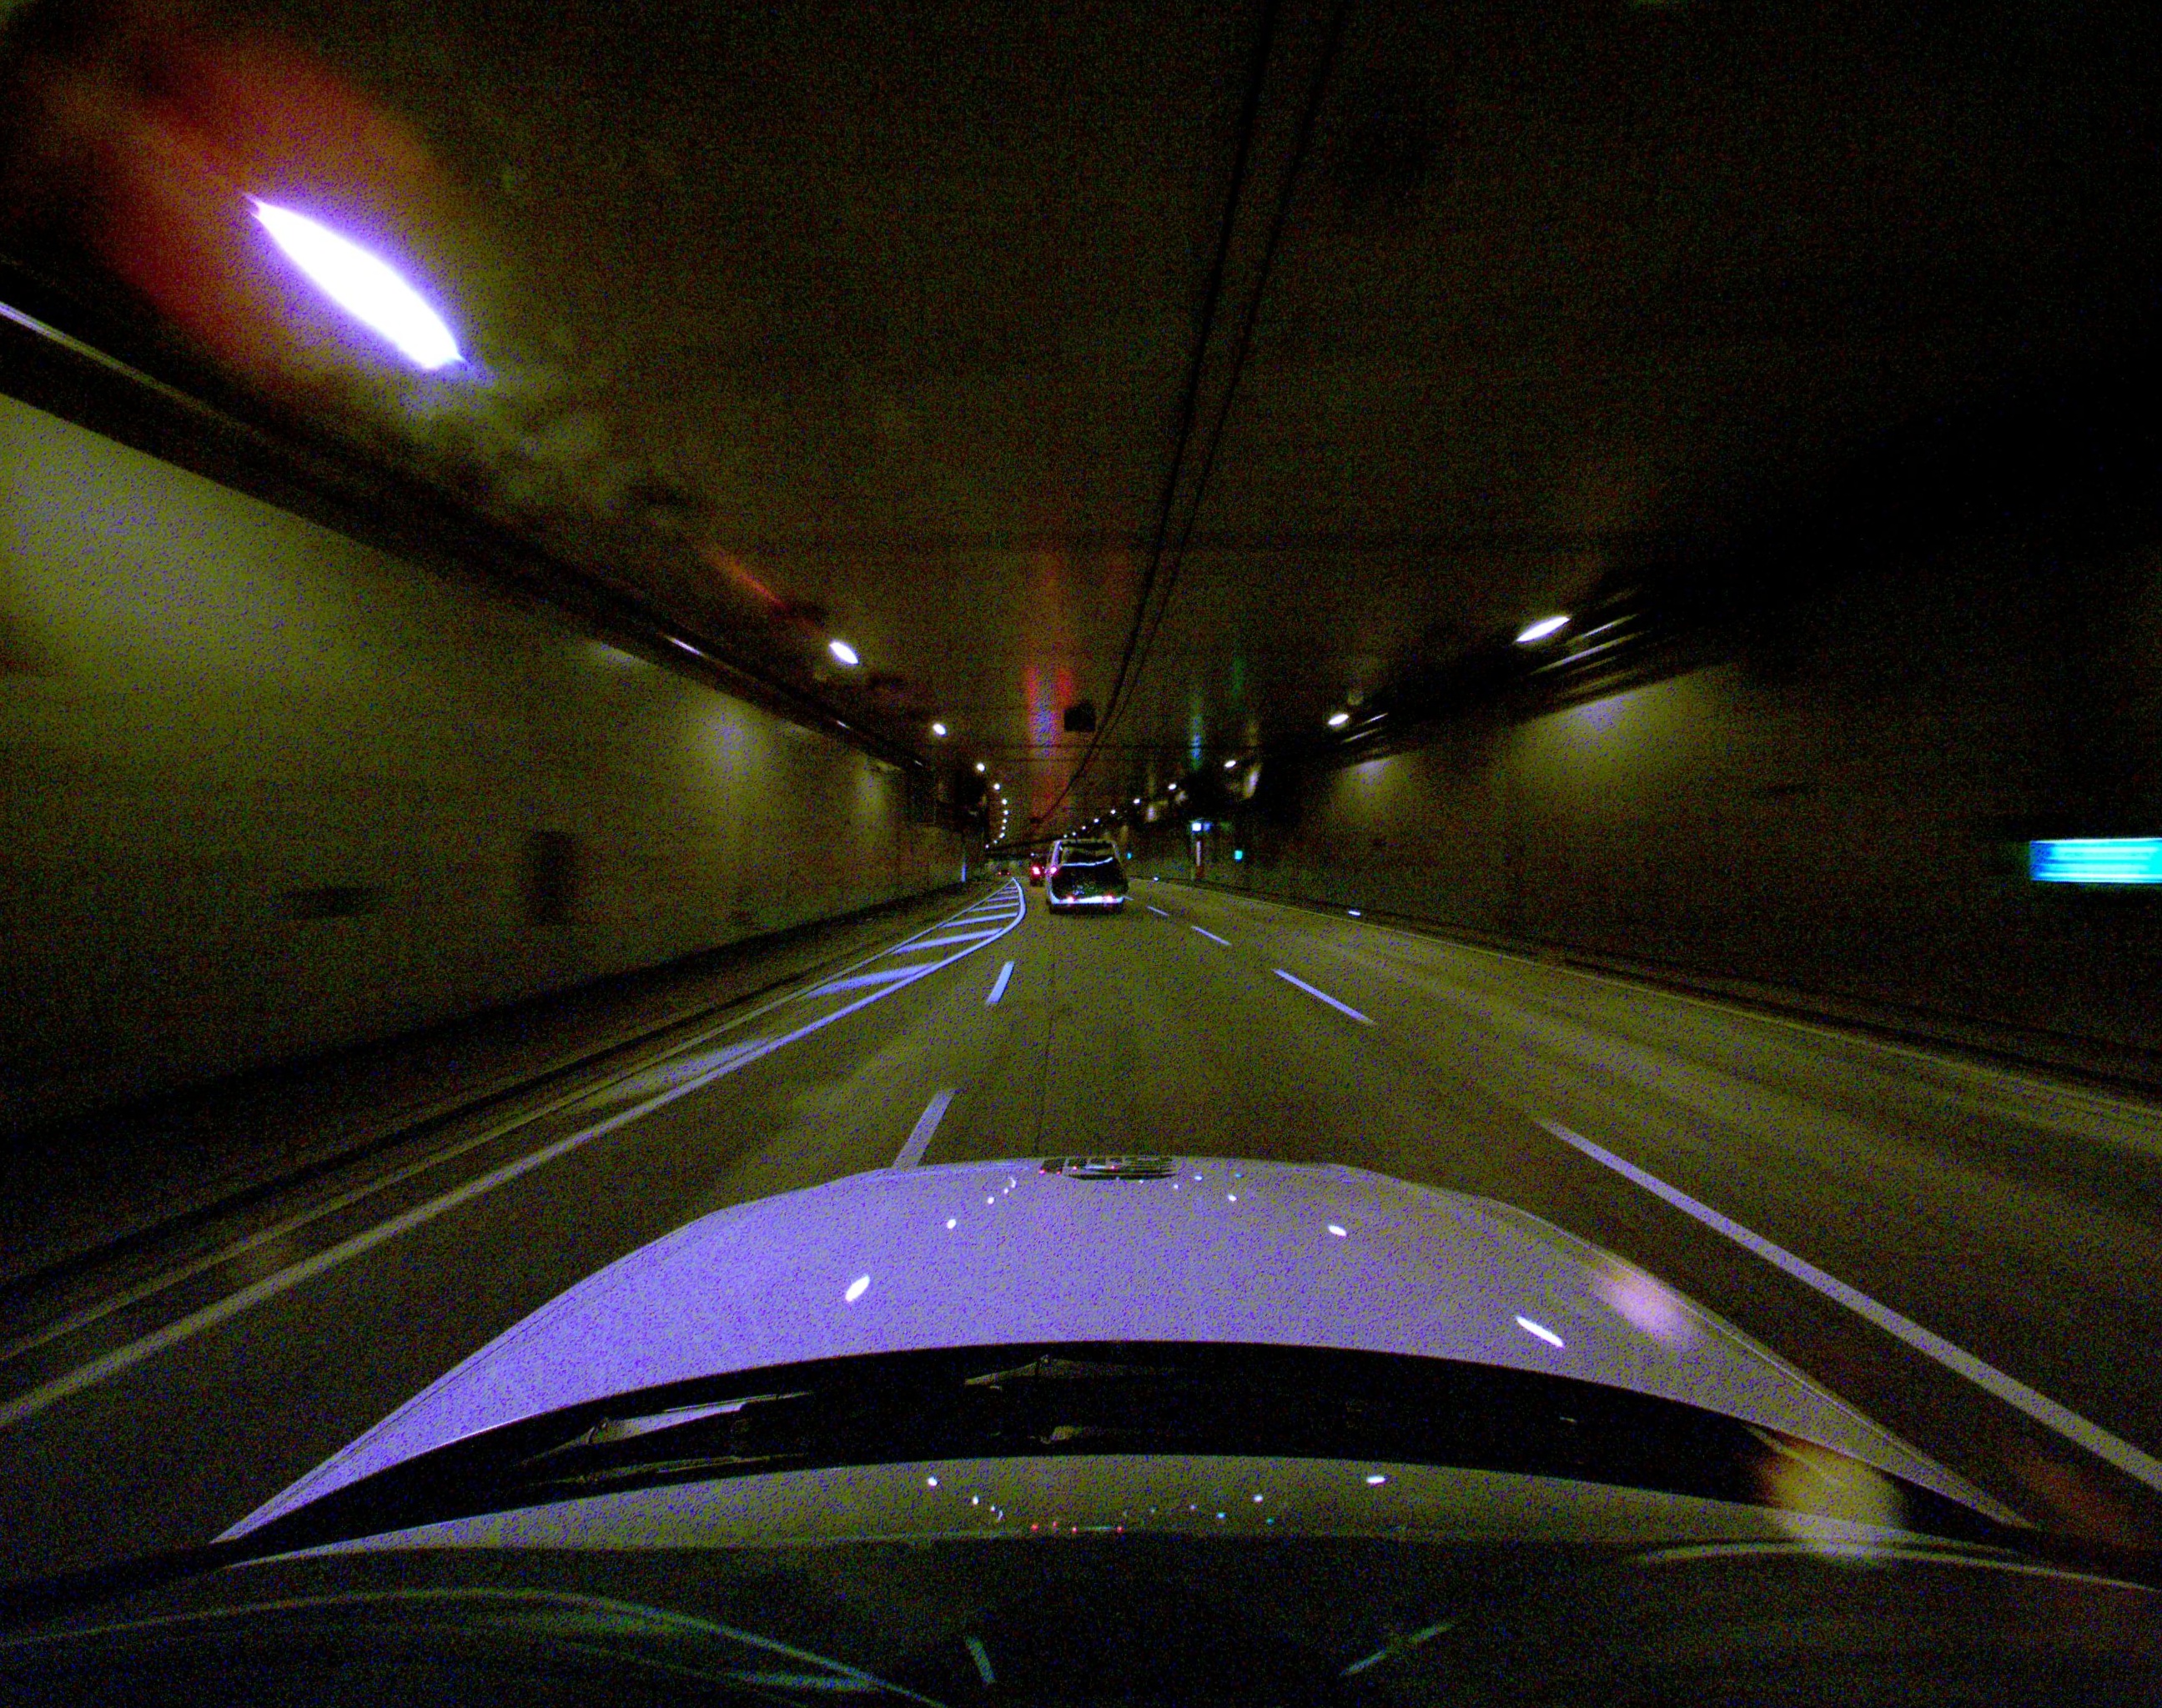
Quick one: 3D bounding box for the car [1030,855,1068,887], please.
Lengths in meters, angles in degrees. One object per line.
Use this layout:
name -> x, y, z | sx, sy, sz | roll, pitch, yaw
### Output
car -> -1.499, 0.766, 37.276 | 1.600, 1.395, 3.272 | 0, 0, -4

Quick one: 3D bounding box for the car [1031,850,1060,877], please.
car -> -2.221, 0.589, 50.099 | 1.601, 1.594, 3.348 | -1, -1, -6

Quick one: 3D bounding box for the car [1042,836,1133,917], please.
car -> 0.026, 0.514, 21.446 | 1.990, 1.847, 5.293 | -1, 0, -4

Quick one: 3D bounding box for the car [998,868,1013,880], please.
car -> -10.472, 2.759, 112.524 | 1.822, 1.630, 3.830 | 2, -2, -9
